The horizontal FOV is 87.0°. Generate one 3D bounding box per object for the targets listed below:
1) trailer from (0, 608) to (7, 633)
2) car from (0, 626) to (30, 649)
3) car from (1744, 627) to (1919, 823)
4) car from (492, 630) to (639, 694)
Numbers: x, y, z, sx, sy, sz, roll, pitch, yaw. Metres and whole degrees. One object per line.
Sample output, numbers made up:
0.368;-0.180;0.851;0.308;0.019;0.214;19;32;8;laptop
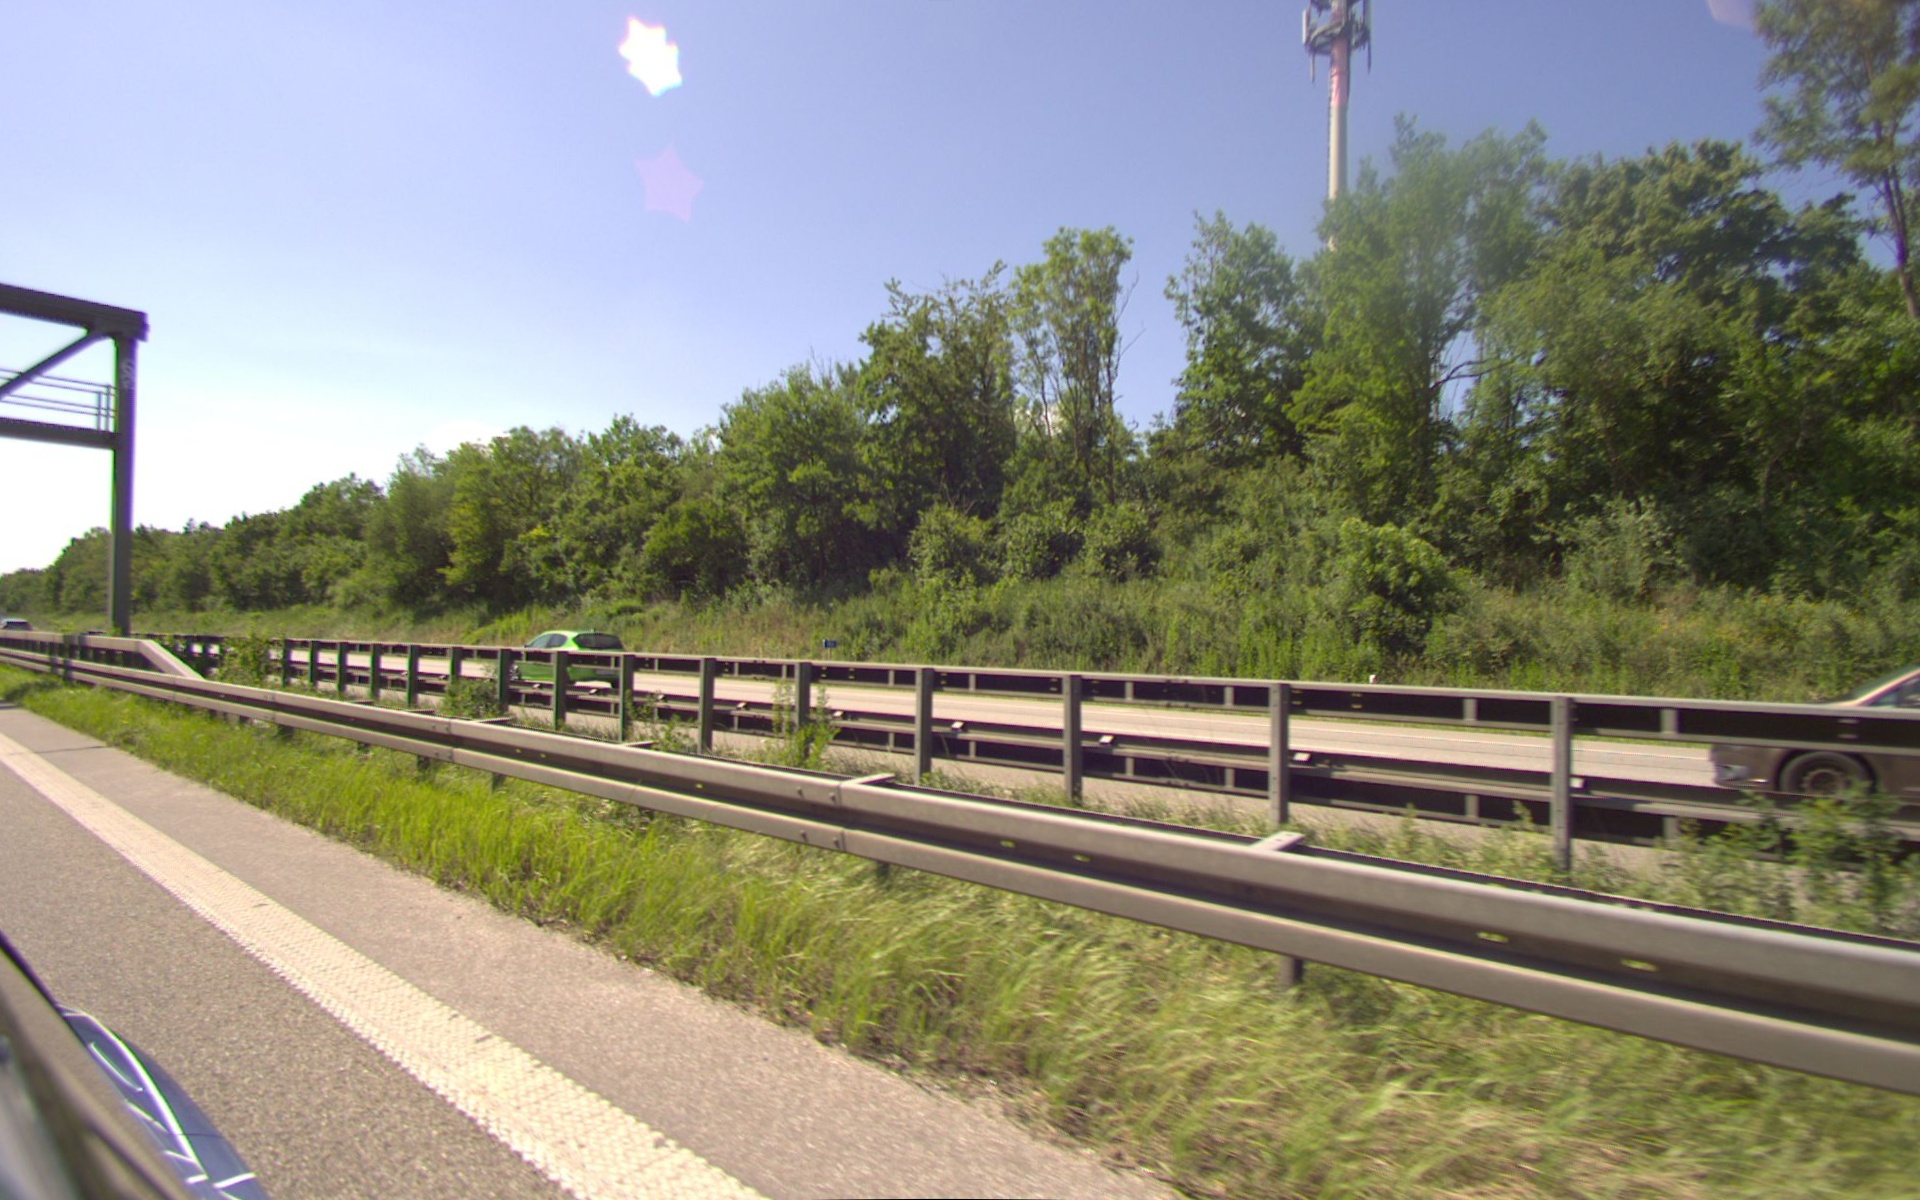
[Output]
-154.999;3.252;161.983;7.689;3.838;2.684;-1;-4;41;trailer
-68.489;2.683;72.893;4.229;1.630;1.743;-1;-3;41;car
9.139;1.078;8.517;3.912;1.629;1.640;-1;-4;42;car
-10.125;1.546;25.842;4.318;1.489;1.640;-1;-4;41;car
